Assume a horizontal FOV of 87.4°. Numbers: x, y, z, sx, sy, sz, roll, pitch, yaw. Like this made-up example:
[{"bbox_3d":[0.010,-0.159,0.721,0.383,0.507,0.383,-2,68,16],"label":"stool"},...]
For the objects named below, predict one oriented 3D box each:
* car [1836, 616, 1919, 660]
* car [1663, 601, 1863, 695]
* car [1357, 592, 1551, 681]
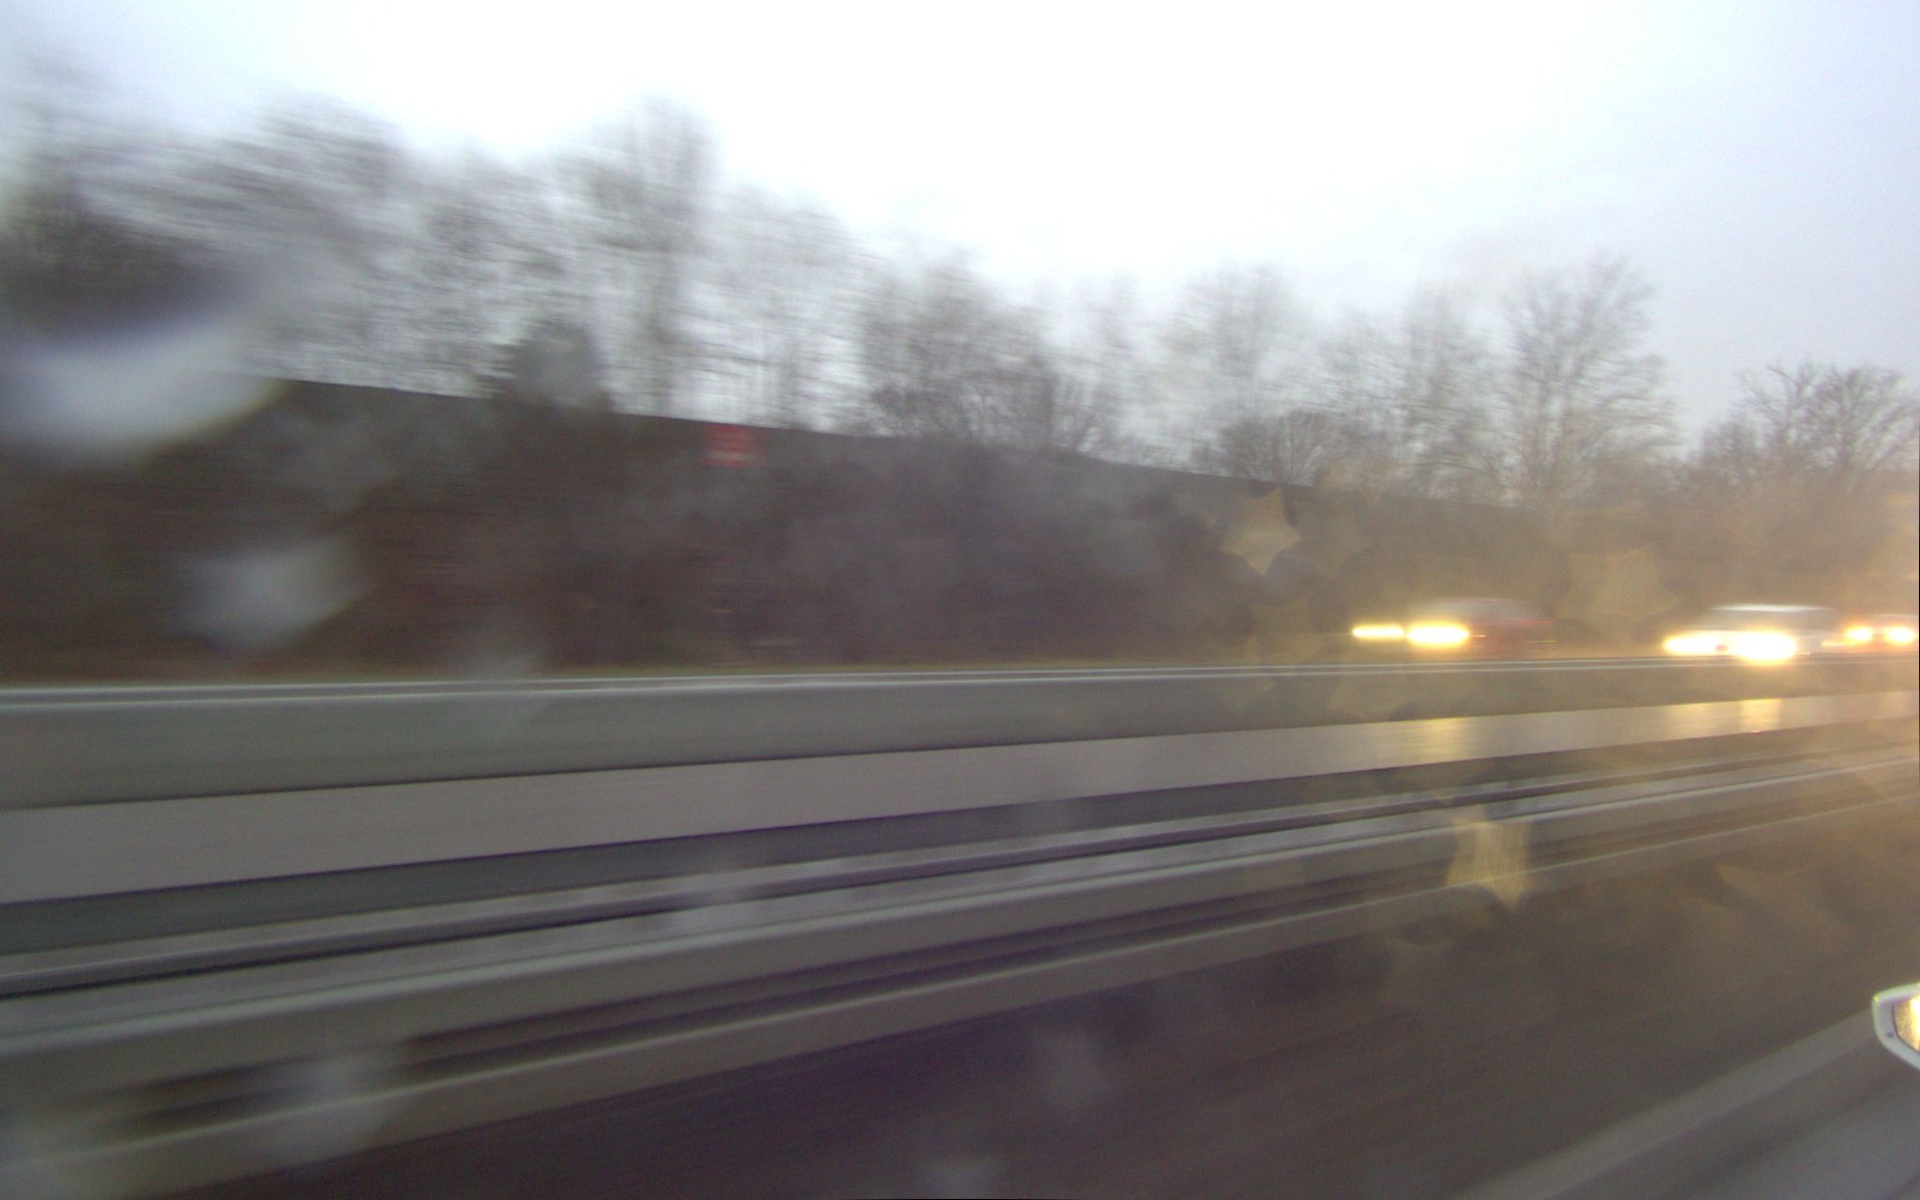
[{"bbox_3d":[36.205,1.472,39.215,4.066,1.560,1.853,2,1,-31],"label":"car"},{"bbox_3d":[17.955,1.041,22.410,4.731,1.857,1.874,2,1,-31],"label":"car"},{"bbox_3d":[11.559,0.826,23.408,4.736,1.857,1.869,2,1,-33],"label":"car"}]
